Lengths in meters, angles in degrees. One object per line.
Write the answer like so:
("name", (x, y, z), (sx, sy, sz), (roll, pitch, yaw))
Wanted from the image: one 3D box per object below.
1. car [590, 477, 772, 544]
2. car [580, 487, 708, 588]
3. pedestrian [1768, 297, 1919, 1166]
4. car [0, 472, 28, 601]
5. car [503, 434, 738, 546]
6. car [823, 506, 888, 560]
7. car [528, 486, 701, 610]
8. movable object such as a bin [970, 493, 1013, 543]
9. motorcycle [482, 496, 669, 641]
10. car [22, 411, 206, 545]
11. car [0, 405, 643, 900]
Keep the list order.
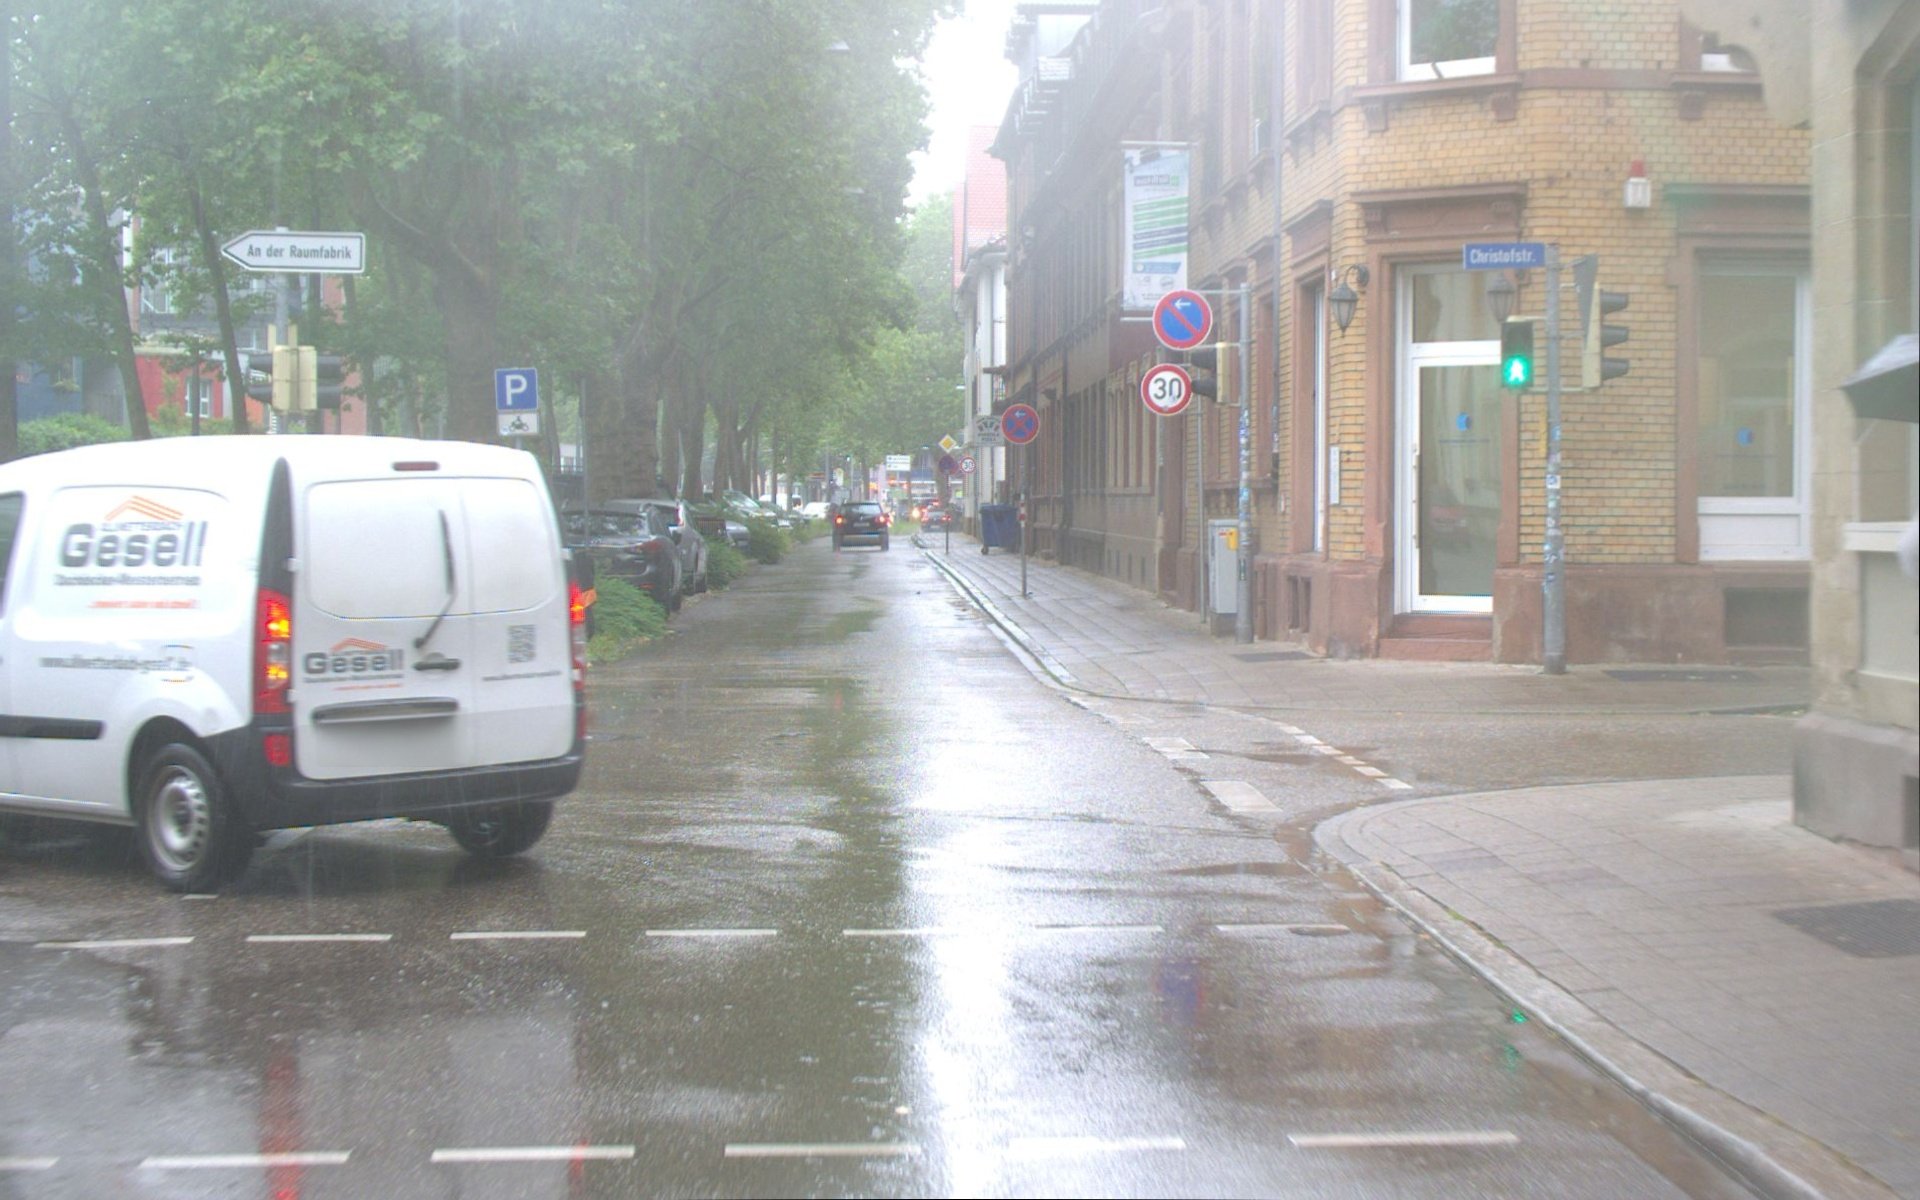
("car", (-6.800, -2.197, 83.613), (4.059, 1.532, 1.832), (2, 2, 29))
("car", (-5.013, -1.026, 54.930), (1.729, 1.509, 4.208), (2, 2, -2))
("pedestrian", (2.441, 0.263, 8.008), (0.785, 1.907, 0.930), (-3, 1, -2))
("car", (-13.718, -0.850, 45.208), (1.873, 1.722, 4.000), (1, 1, -1))
("car", (-7.153, -2.308, 72.289), (4.653, 2.275, 2.008), (1, 2, 32))
("car", (-3.290, -2.111, 108.310), (1.993, 1.634, 4.001), (1, 1, -2))
("car", (-4.480, -0.724, 45.169), (1.896, 1.480, 4.622), (2, 2, -2))
("movable object such as a bin", (0.849, -2.219, 92.789), (1.021, 1.297, 1.367), (-3, 2, -2))
("motorcycle", (-4.155, -0.347, 37.034), (2.108, 1.495, 0.770), (2, 2, 42))
("car", (-13.746, -1.984, 56.145), (2.053, 1.990, 5.436), (2, 2, -5))
("car", (-3.410, 0.115, 14.922), (1.933, 1.843, 4.064), (-1, 3, -44))
